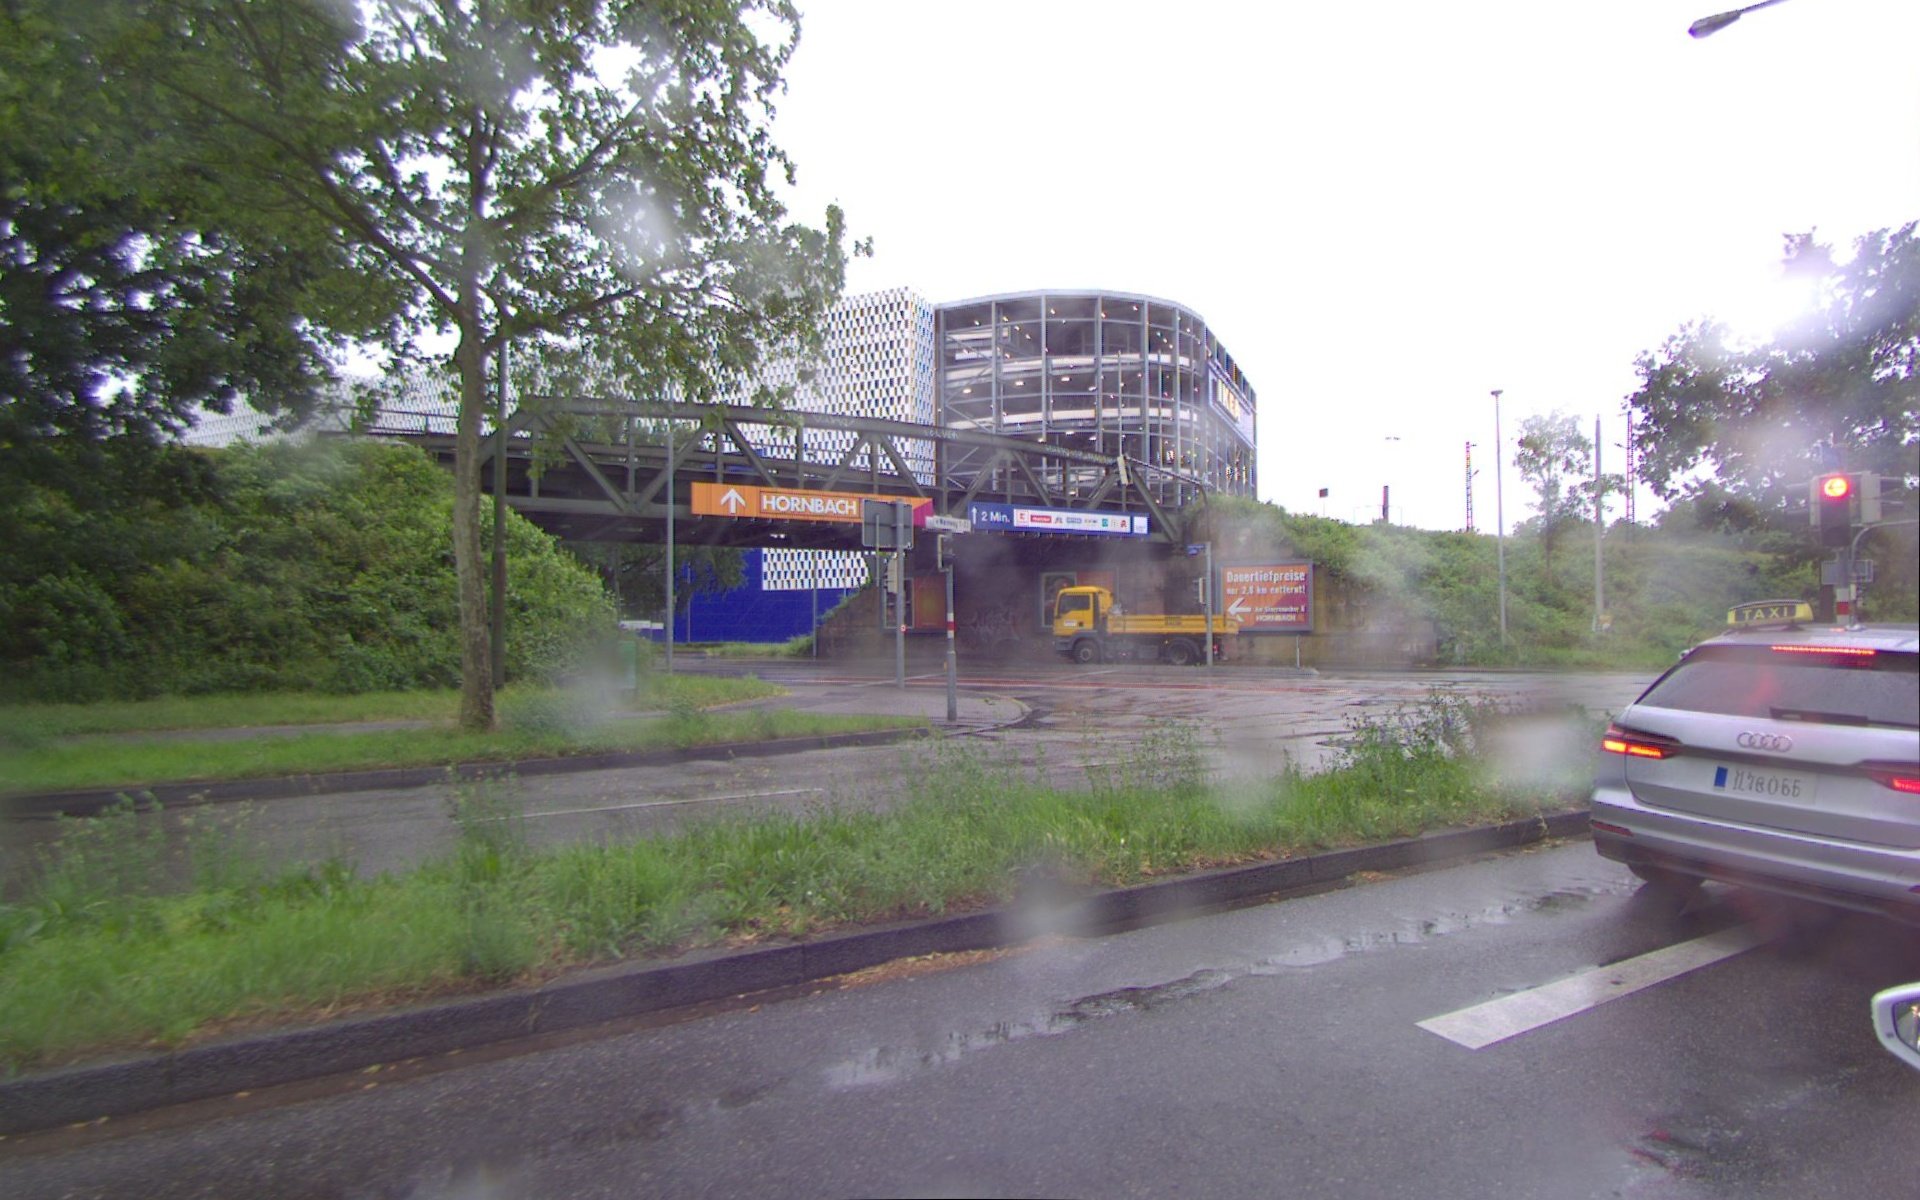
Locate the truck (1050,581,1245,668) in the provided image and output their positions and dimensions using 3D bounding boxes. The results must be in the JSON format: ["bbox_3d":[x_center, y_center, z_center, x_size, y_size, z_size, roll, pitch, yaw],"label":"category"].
[{"bbox_3d":[7.103,0.946,38.150,6.914,3.094,2.646,-1,-2,23],"label":"truck"}]

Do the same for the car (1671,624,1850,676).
[{"bbox_3d":[24.385,1.512,30.778,3.923,1.505,1.818,0,-2,22],"label":"car"}]

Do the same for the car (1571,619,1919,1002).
[{"bbox_3d":[5.389,0.856,5.391,4.521,1.452,1.682,1,-1,-30],"label":"car"}]

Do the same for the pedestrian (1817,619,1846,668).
[{"bbox_3d":[33.187,1.648,38.265,0.661,1.809,0.533,2,0,-12],"label":"pedestrian"}]
